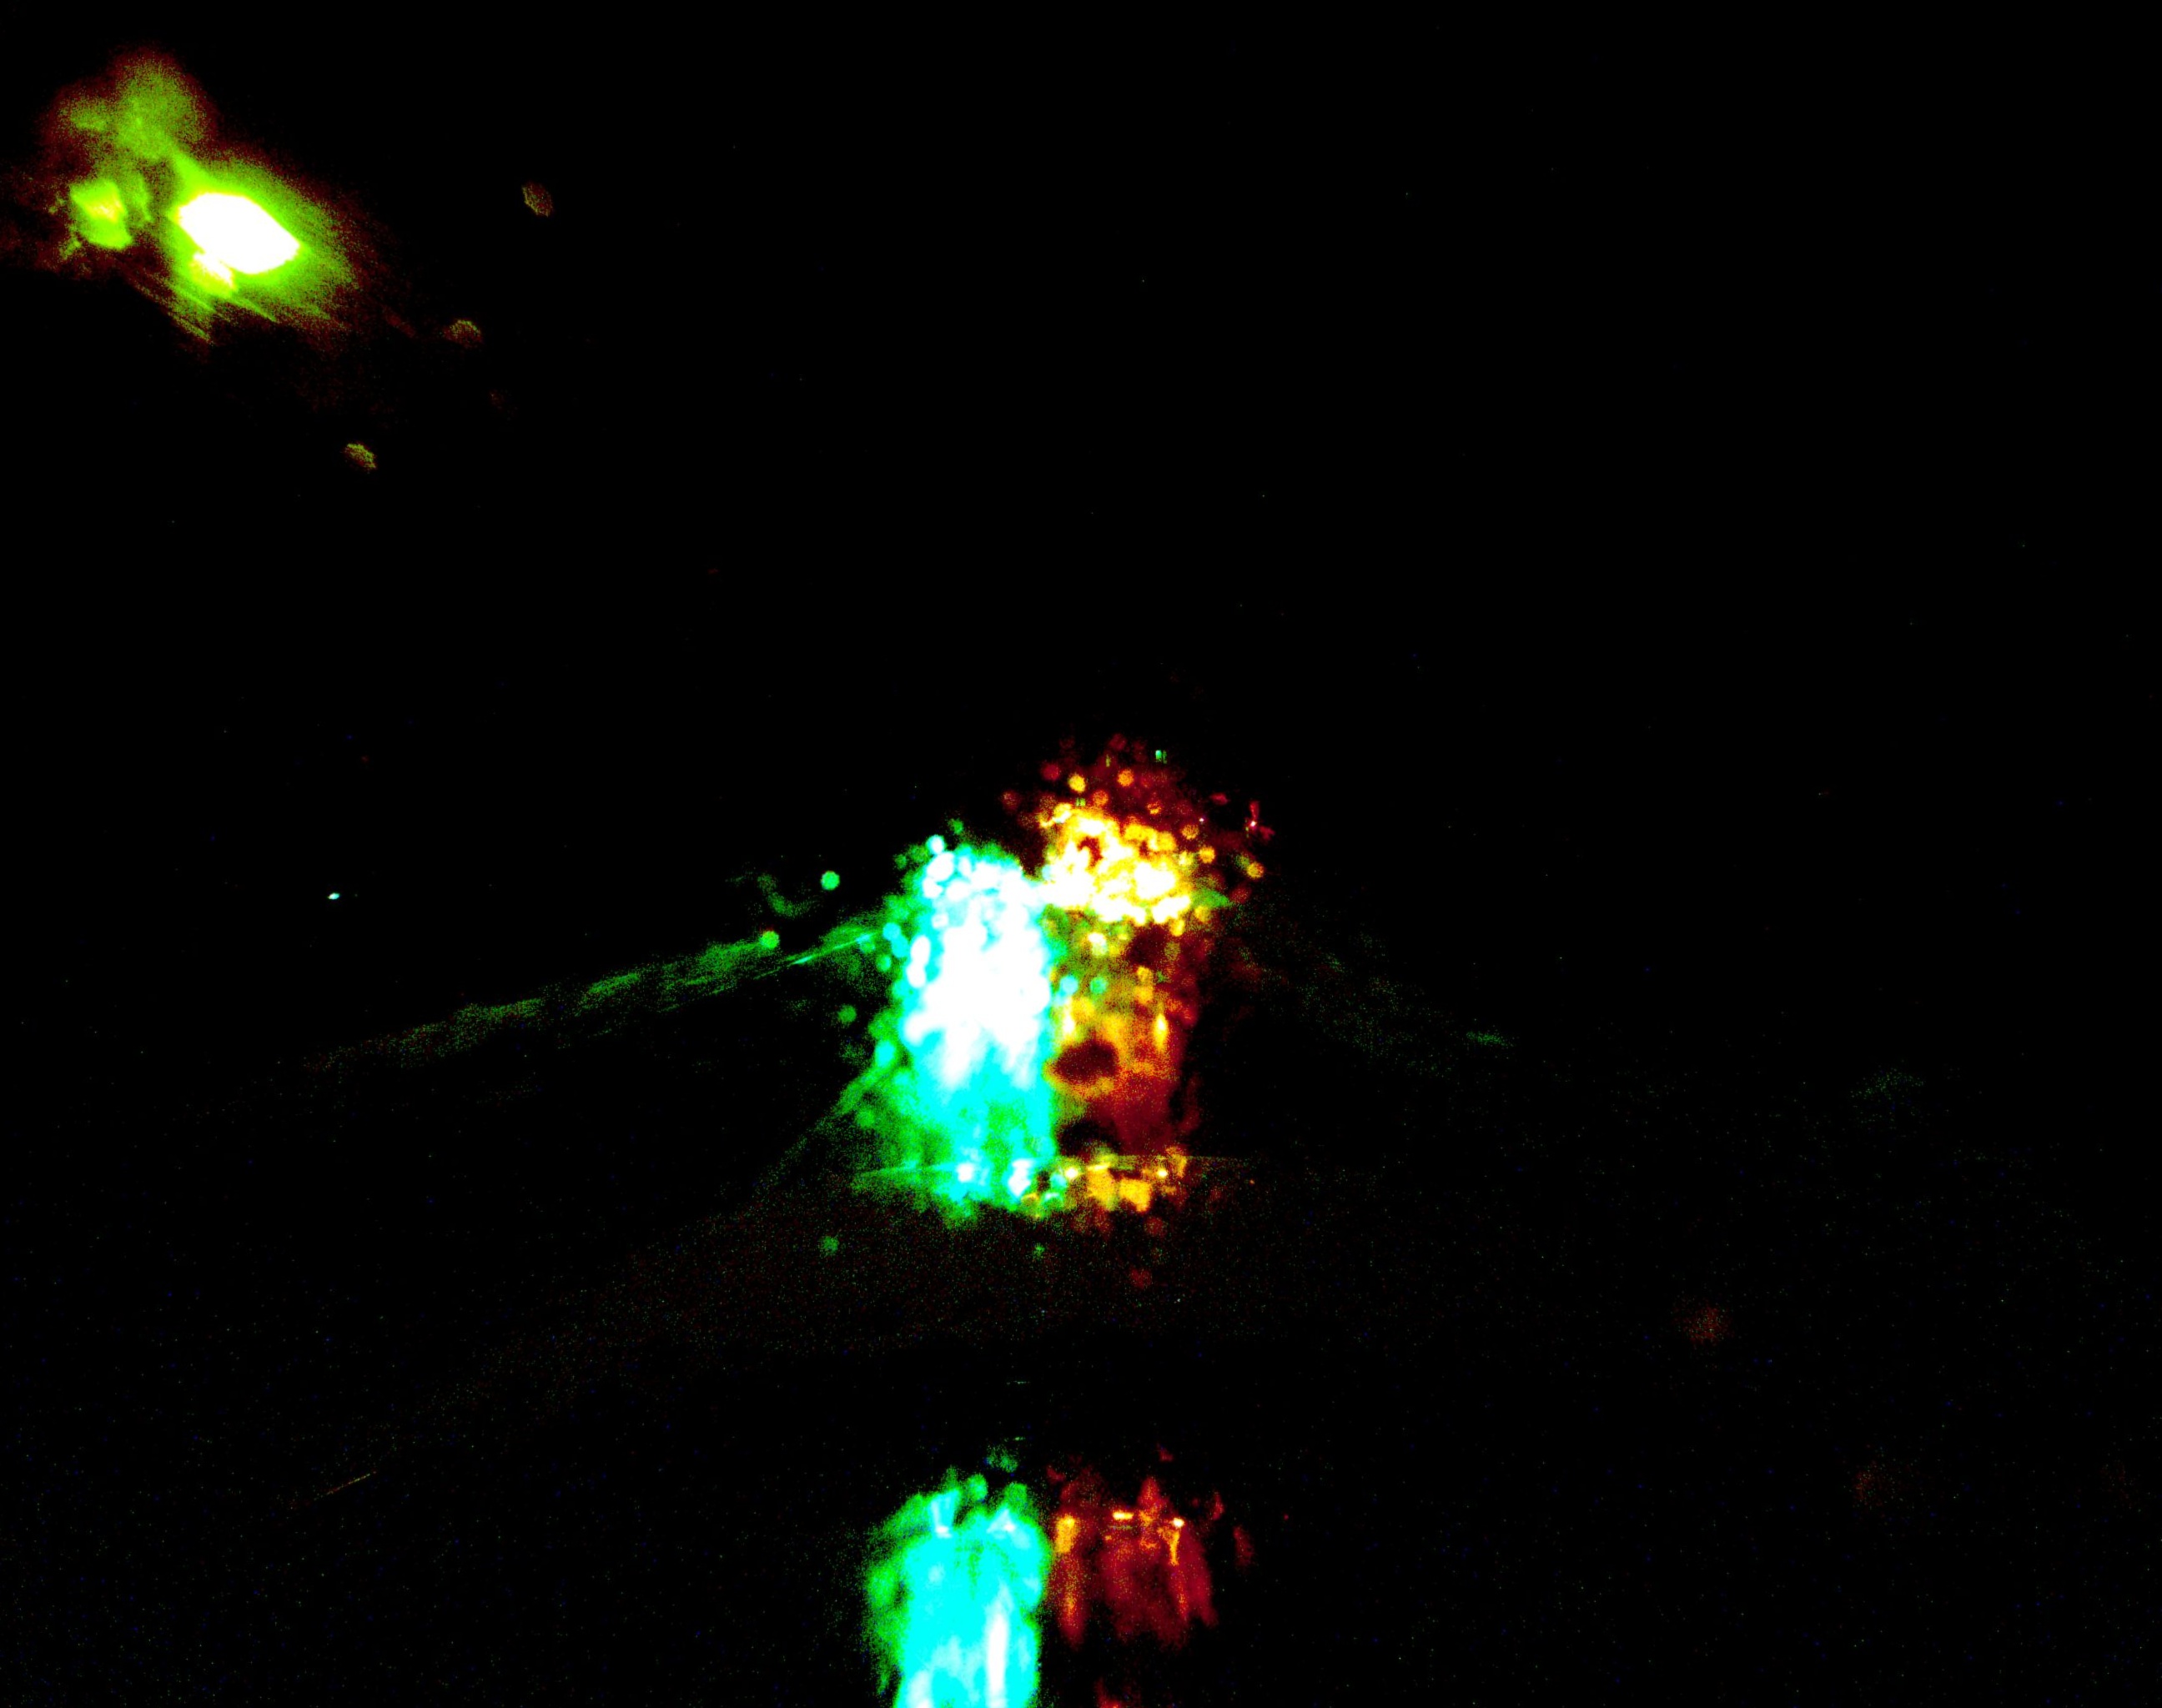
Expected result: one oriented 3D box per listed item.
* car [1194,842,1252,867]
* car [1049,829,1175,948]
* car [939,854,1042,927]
[{"bbox_3d":[10.543,0.032,60.331,4.174,1.799,2.005,0,-1,10],"label":"car"},{"bbox_3d":[0.578,0.487,13.856,1.783,1.681,3.908,-2,1,4],"label":"car"},{"bbox_3d":[-2.253,0.890,21.452,1.866,1.545,4.358,-6,-1,3],"label":"car"}]
